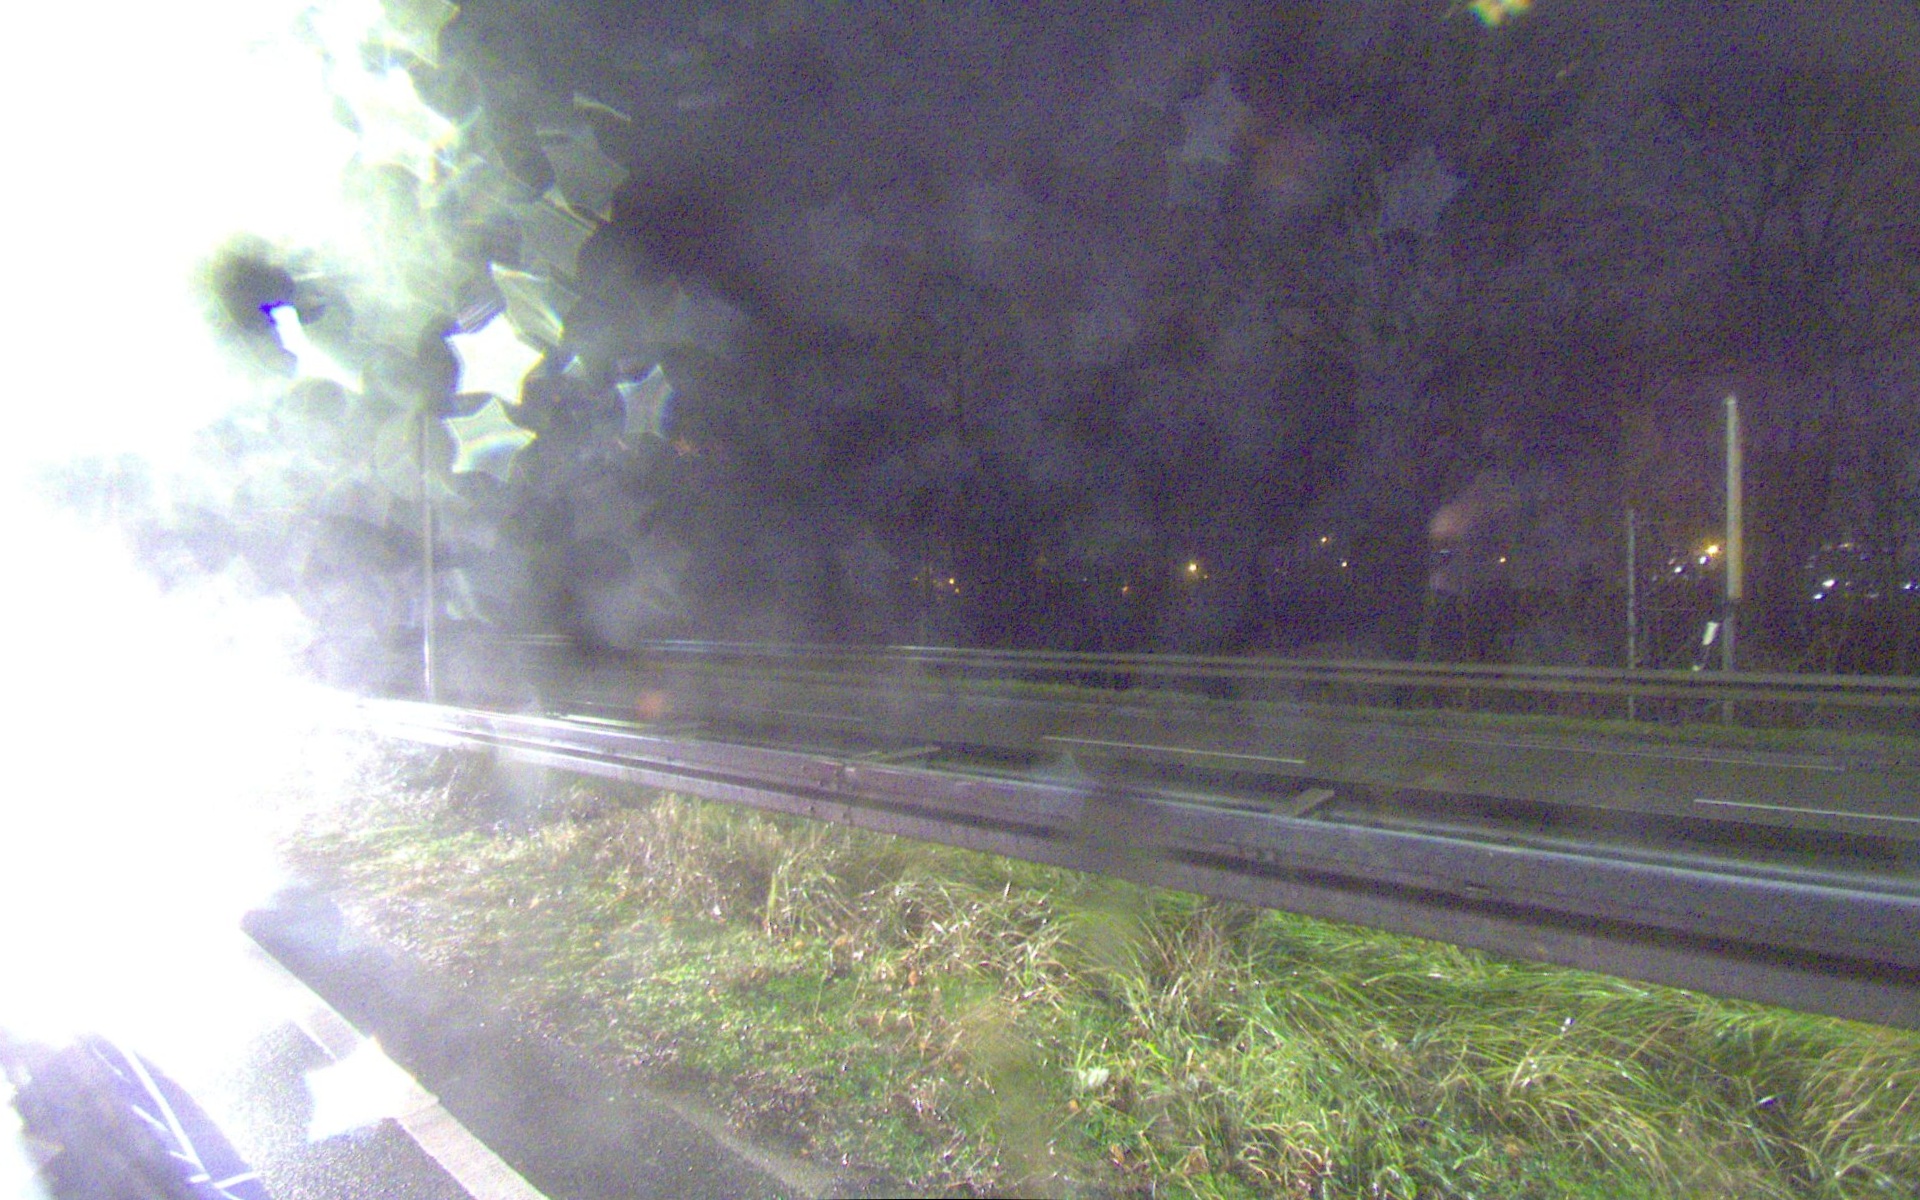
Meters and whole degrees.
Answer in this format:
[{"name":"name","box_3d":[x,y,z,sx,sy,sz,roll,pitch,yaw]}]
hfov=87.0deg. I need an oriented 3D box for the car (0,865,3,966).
[{"name":"car","box_3d":[-5.708,0.825,4.719,3.388,1.435,1.478,-1,1,41]}]
